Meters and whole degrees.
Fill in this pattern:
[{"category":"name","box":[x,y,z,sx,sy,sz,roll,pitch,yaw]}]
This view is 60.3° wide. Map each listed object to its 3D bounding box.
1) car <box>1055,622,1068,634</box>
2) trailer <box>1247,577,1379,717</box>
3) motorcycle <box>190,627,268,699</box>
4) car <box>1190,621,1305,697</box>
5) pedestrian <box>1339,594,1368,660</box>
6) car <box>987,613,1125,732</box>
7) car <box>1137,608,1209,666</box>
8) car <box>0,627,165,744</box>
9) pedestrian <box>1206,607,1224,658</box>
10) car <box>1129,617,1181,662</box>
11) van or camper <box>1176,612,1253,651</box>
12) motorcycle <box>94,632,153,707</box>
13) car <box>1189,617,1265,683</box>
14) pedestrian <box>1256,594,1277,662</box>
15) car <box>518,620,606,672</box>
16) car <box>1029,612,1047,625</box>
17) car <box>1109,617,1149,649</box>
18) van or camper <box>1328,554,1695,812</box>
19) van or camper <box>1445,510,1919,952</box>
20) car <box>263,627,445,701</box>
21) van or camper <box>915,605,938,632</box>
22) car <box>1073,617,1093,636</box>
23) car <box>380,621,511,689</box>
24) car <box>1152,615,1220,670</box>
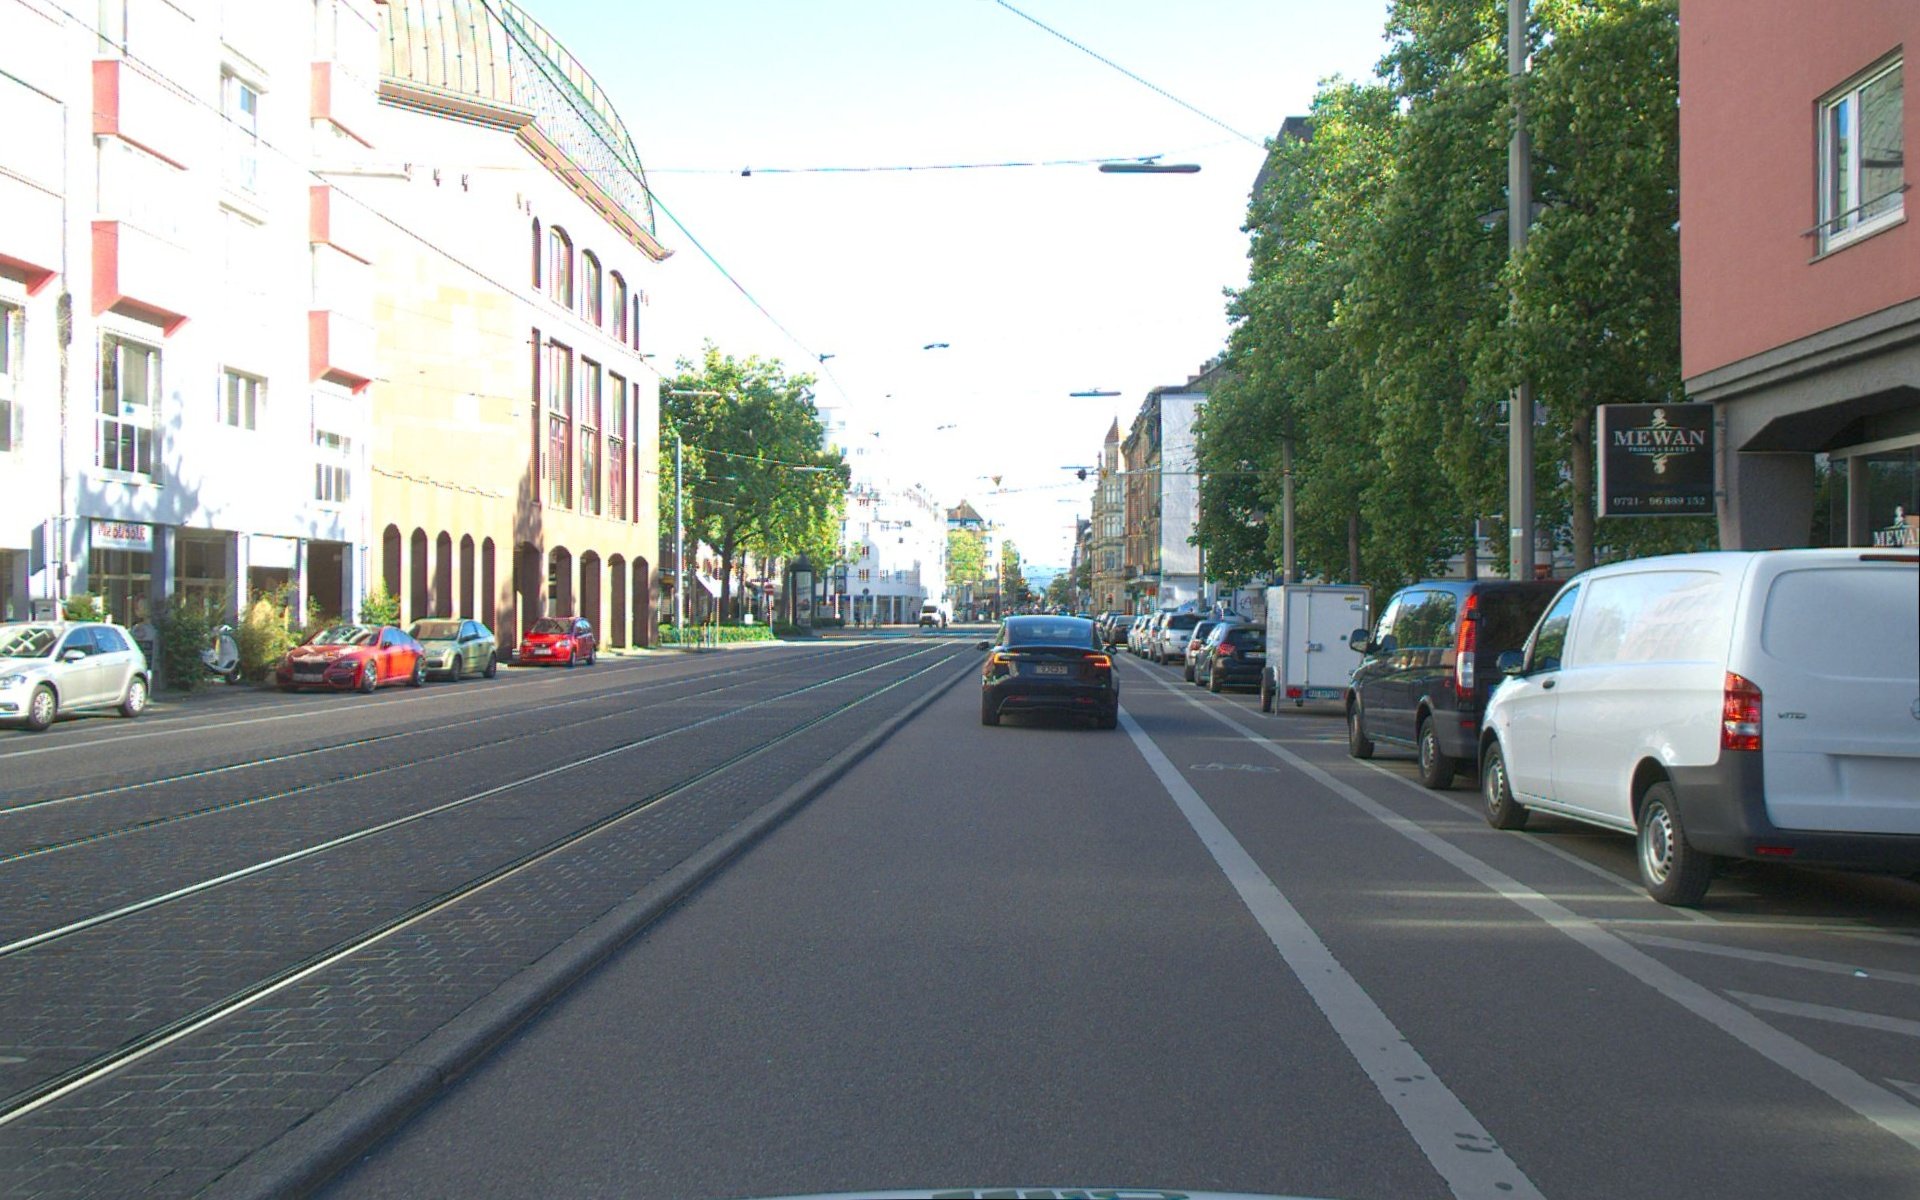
[{"category":"car","box":[13.762,3.828,224.345,1.807,1.620,4.002,-1,-1,4]},{"category":"trailer","box":[5.893,0.766,27.946,1.626,2.154,3.844,2,-1,4]},{"category":"motorcycle","box":[-14.348,1.222,32.516,0.508,1.320,2.082,2,0,2]},{"category":"car","box":[6.085,1.212,35.425,1.765,1.460,4.324,2,-1,1]},{"category":"pedestrian","box":[11.884,0.813,49.996,0.654,1.930,0.748,-4,-1,8]},{"category":"car","box":[1.260,0.917,22.510,1.684,1.430,3.711,1,0,2]},{"category":"car","box":[7.352,1.237,57.372,1.885,1.866,4.712,1,0,0]},{"category":"car","box":[-13.390,1.165,23.960,1.715,1.500,4.207,0,0,0]},{"category":"pedestrian","box":[9.315,1.186,60.480,0.598,1.840,0.603,-1,-1,7]},{"category":"car","box":[7.373,1.468,62.702,1.510,1.597,4.443,1,0,1]},{"category":"van or camper","box":[15.761,1.962,102.680,4.545,2.174,1.989,-3,-1,7]},{"category":"motorcycle","box":[-14.554,1.188,28.808,0.453,1.215,2.074,2,0,-15]},{"category":"car","box":[6.499,1.182,40.539,1.712,1.468,4.318,1,0,8]},{"category":"pedestrian","box":[9.012,0.827,48.696,0.455,1.988,0.748,-3,-2,8]},{"category":"car","box":[-12.054,1.368,50.330,1.624,1.447,3.621,2,0,3]},{"category":"car","box":[9.723,2.311,206.165,1.953,1.552,3.999,0,0,-1]},{"category":"car","box":[8.315,1.613,81.542,1.675,1.482,4.551,1,-1,3]},{"category":"van or camper","box":[5.179,0.714,16.421,1.930,2.081,5.332,2,-1,1]},{"category":"van or camper","box":[4.761,0.681,10.565,1.891,2.072,5.476,1,-1,2]},{"category":"car","box":[-12.756,1.304,35.154,1.919,1.348,4.822,2,0,2]},{"category":"van or camper","box":[-3.350,1.858,165.069,2.096,2.700,6.880,-1,-1,0]},{"category":"car","box":[9.793,2.111,131.959,1.560,1.458,3.687,-1,-1,4]},{"category":"car","box":[-12.477,1.303,40.347,1.634,1.494,4.291,2,0,3]},{"category":"car","box":[7.125,1.304,52.437,1.678,1.618,4.066,1,0,2]}]
